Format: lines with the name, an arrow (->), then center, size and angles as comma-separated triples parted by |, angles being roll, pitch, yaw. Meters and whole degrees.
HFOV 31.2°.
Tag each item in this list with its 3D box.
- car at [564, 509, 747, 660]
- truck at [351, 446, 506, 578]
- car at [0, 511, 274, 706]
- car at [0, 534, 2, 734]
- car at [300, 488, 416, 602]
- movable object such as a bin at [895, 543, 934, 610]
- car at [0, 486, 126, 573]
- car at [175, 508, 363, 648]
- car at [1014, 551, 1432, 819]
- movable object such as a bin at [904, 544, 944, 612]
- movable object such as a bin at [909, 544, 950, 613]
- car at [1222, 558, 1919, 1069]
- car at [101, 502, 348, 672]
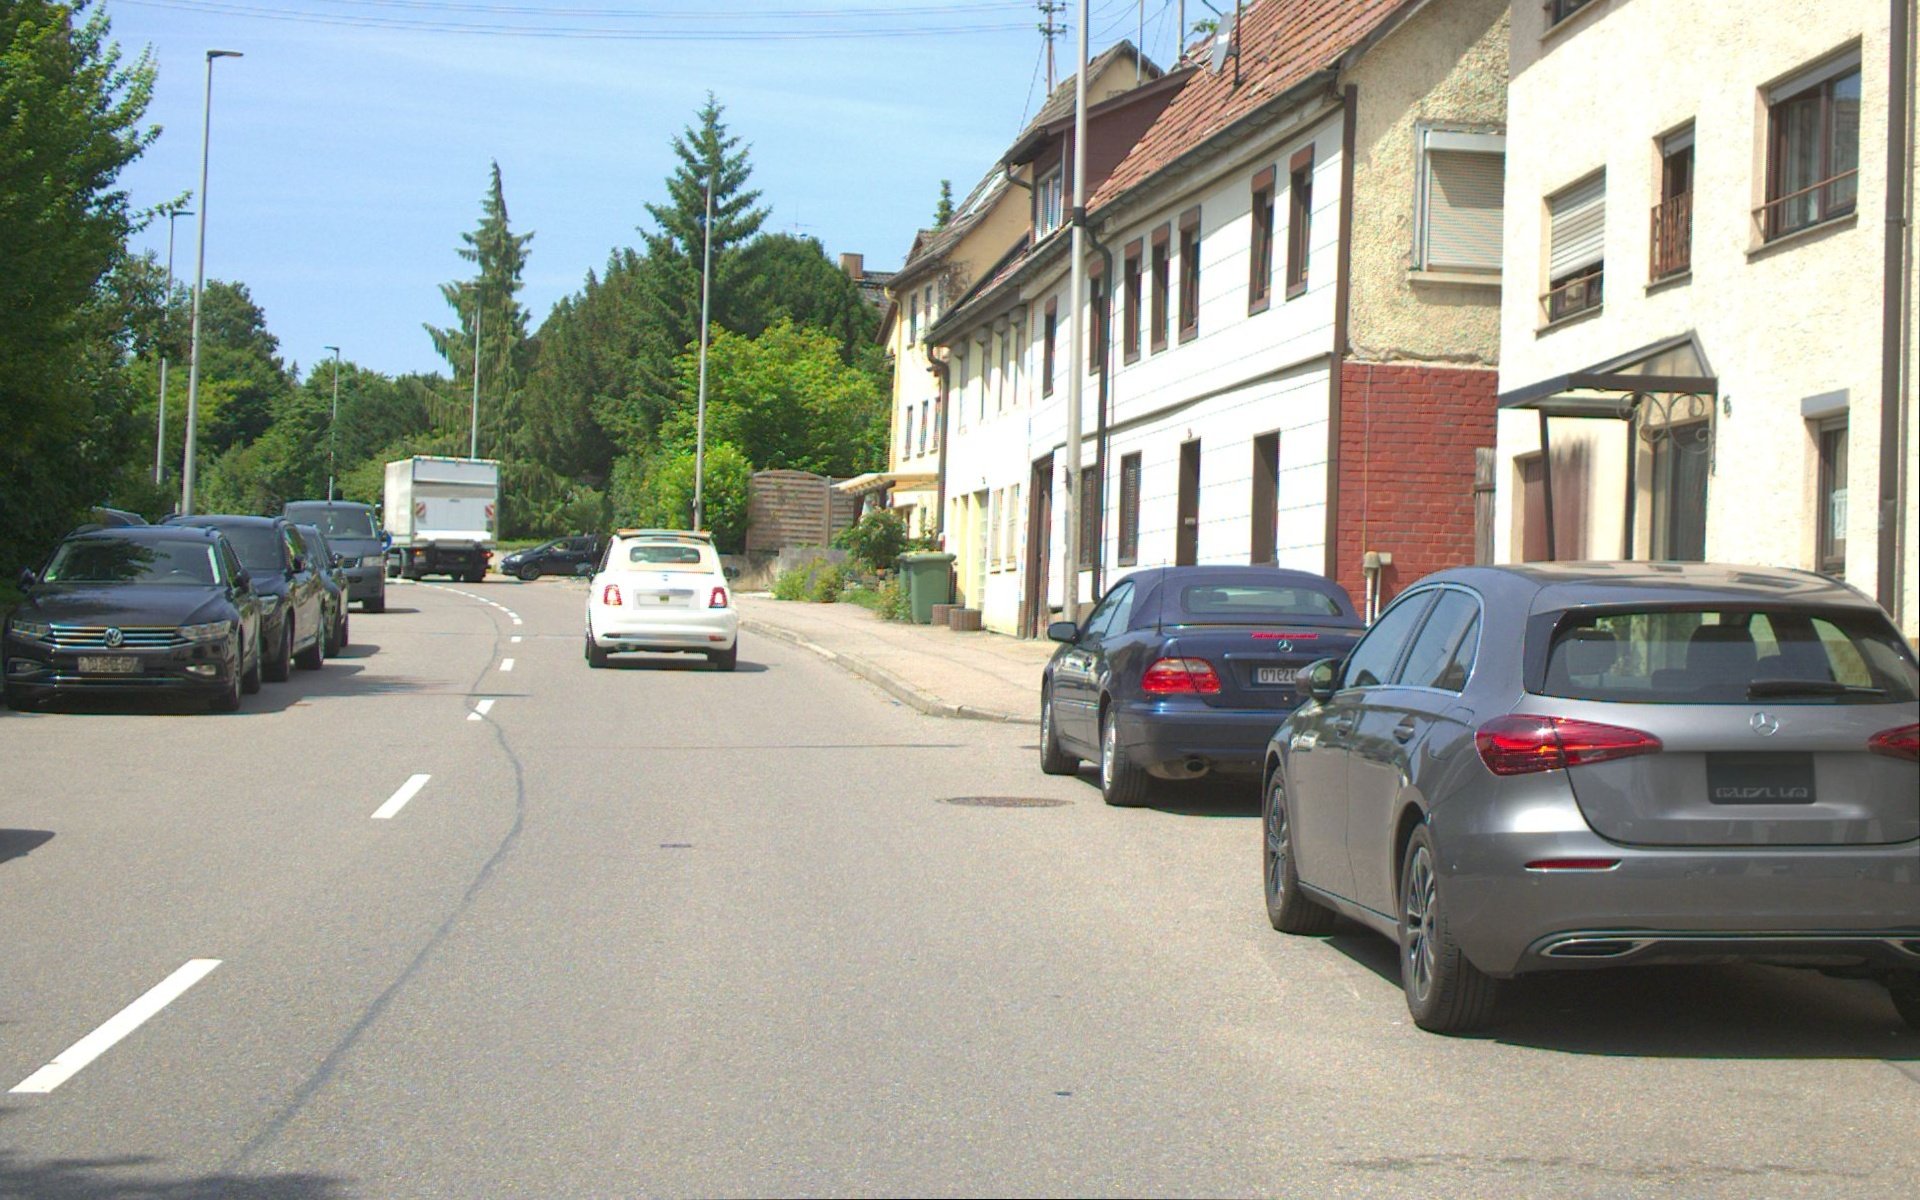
car -> -3.482, -0.190, 38.801 | 1.724, 1.555, 4.001 | 2, 1, -9
truck -> -16.086, -2.597, 103.630 | 3.067, 3.761, 7.870 | 1, 0, -20
car -> -6.834, 0.018, 28.688 | 1.788, 1.458, 4.713 | 1, 1, -7
car -> -5.498, 0.447, 14.323 | 1.804, 1.419, 4.929 | 1, 2, -2
car -> -10.796, -0.979, 61.447 | 1.890, 1.931, 4.988 | 1, 1, -11
movable object such as a bin -> -0.719, -0.372, 54.073 | 0.546, 1.030, 0.552 | -1, 2, -8
car -> -18.133, -1.441, 65.394 | 4.227, 1.400, 1.822 | 6, 0, -16
car -> -7.943, -0.301, 39.856 | 1.818, 1.468, 4.777 | 1, 1, -8
car -> 1.446, 0.430, 20.467 | 1.665, 1.348, 4.188 | 2, 1, -7
movable object such as a bin -> -0.558, -0.337, 52.931 | 0.546, 1.030, 0.552 | -1, 2, -8
movable object such as a bin -> -0.461, -0.330, 52.312 | 0.546, 1.030, 0.552 | -1, 2, -8
car -> 2.127, 0.582, 11.914 | 1.793, 1.398, 4.413 | 1, 1, -4
car -> -7.194, -0.176, 33.999 | 1.755, 1.516, 4.301 | 2, 2, -4
